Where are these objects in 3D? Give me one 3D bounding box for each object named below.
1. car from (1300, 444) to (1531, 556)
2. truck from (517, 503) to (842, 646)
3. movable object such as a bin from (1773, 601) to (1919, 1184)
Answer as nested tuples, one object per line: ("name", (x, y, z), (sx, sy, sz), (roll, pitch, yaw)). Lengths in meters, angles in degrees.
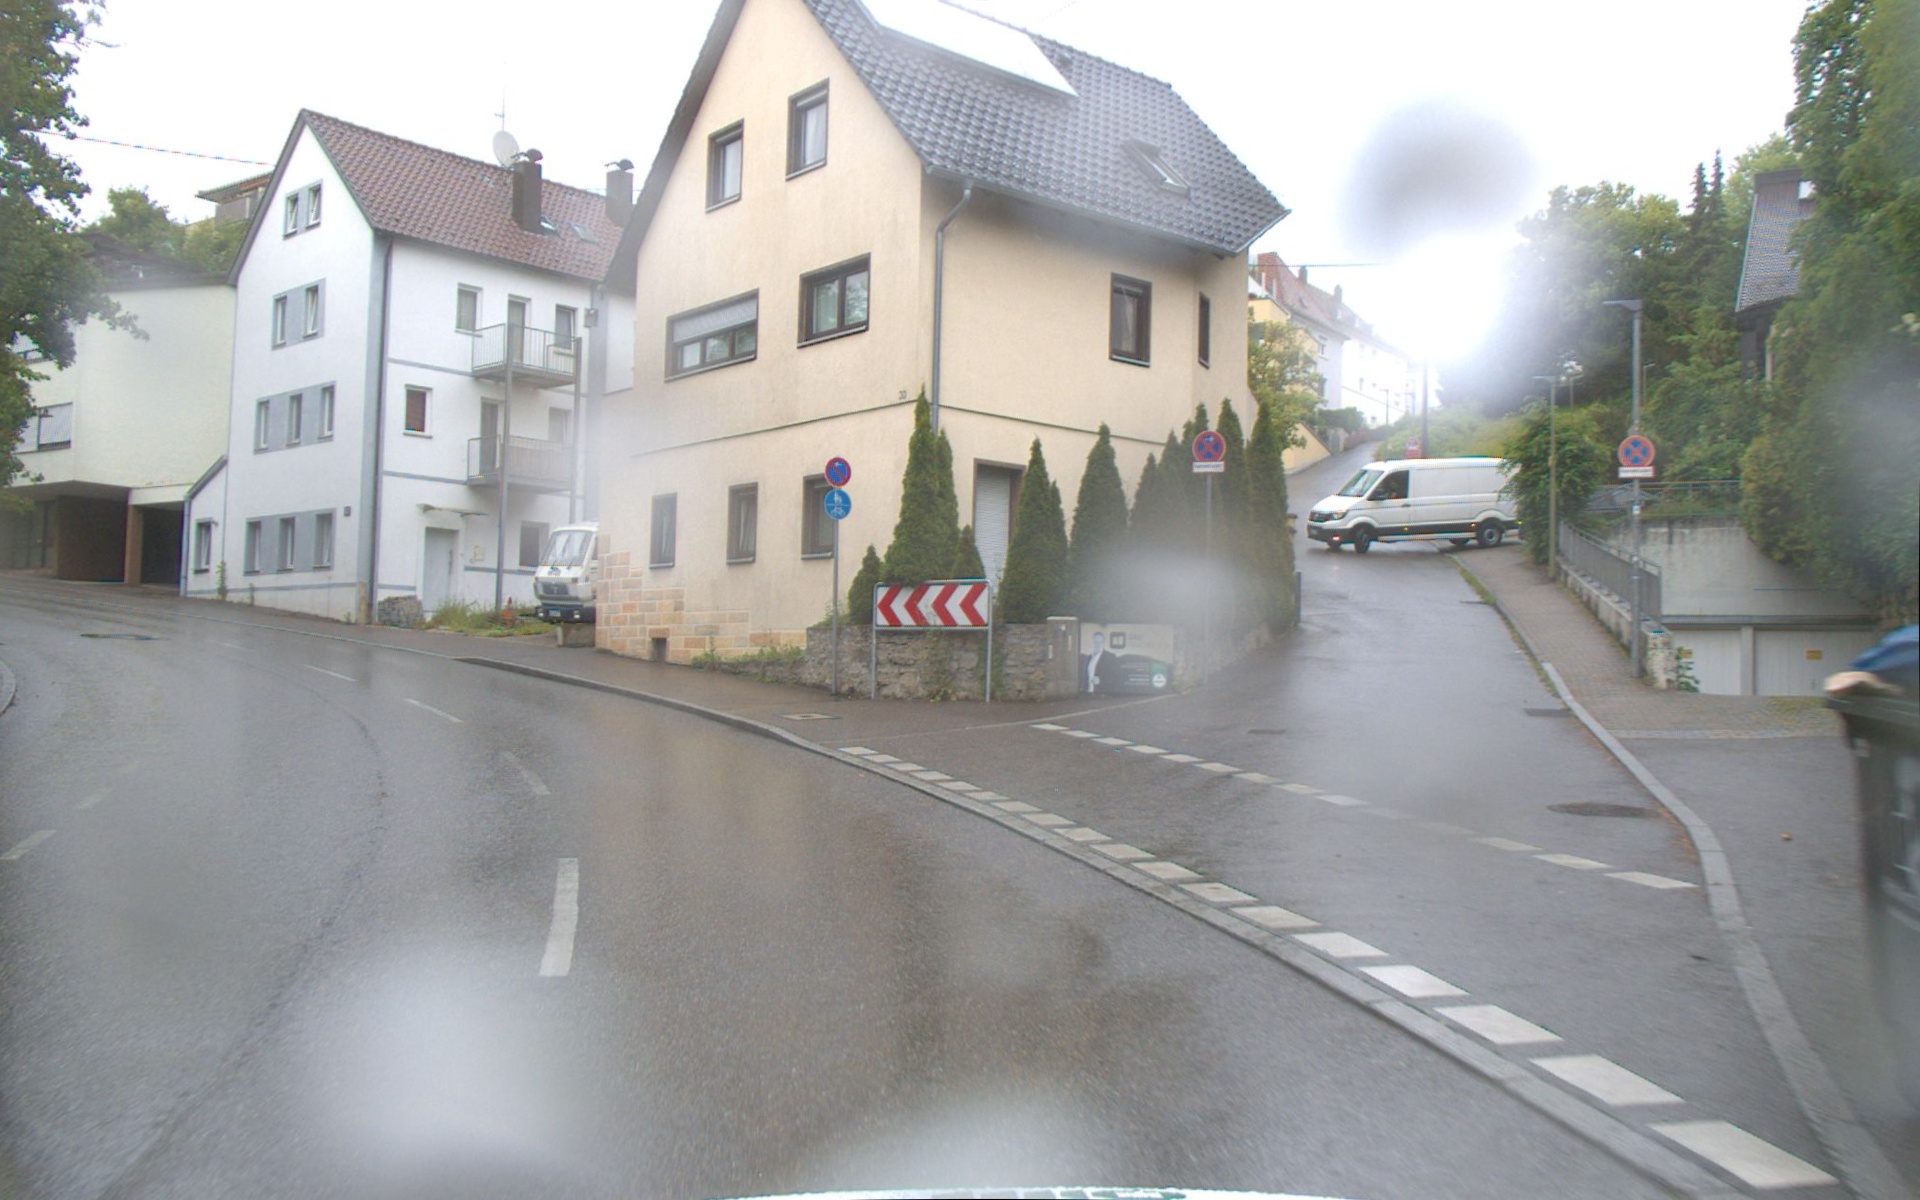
("car", (12.084, -2.614, 43.992), (5.580, 2.697, 1.997), (1, 0, -7))
("truck", (-5.891, -0.639, 35.596), (6.925, 2.749, 2.107), (-2, 5, -44))
("movable object such as a bin", (2.994, 0.715, 4.373), (1.131, 1.434, 1.486), (-2, -1, 12))
